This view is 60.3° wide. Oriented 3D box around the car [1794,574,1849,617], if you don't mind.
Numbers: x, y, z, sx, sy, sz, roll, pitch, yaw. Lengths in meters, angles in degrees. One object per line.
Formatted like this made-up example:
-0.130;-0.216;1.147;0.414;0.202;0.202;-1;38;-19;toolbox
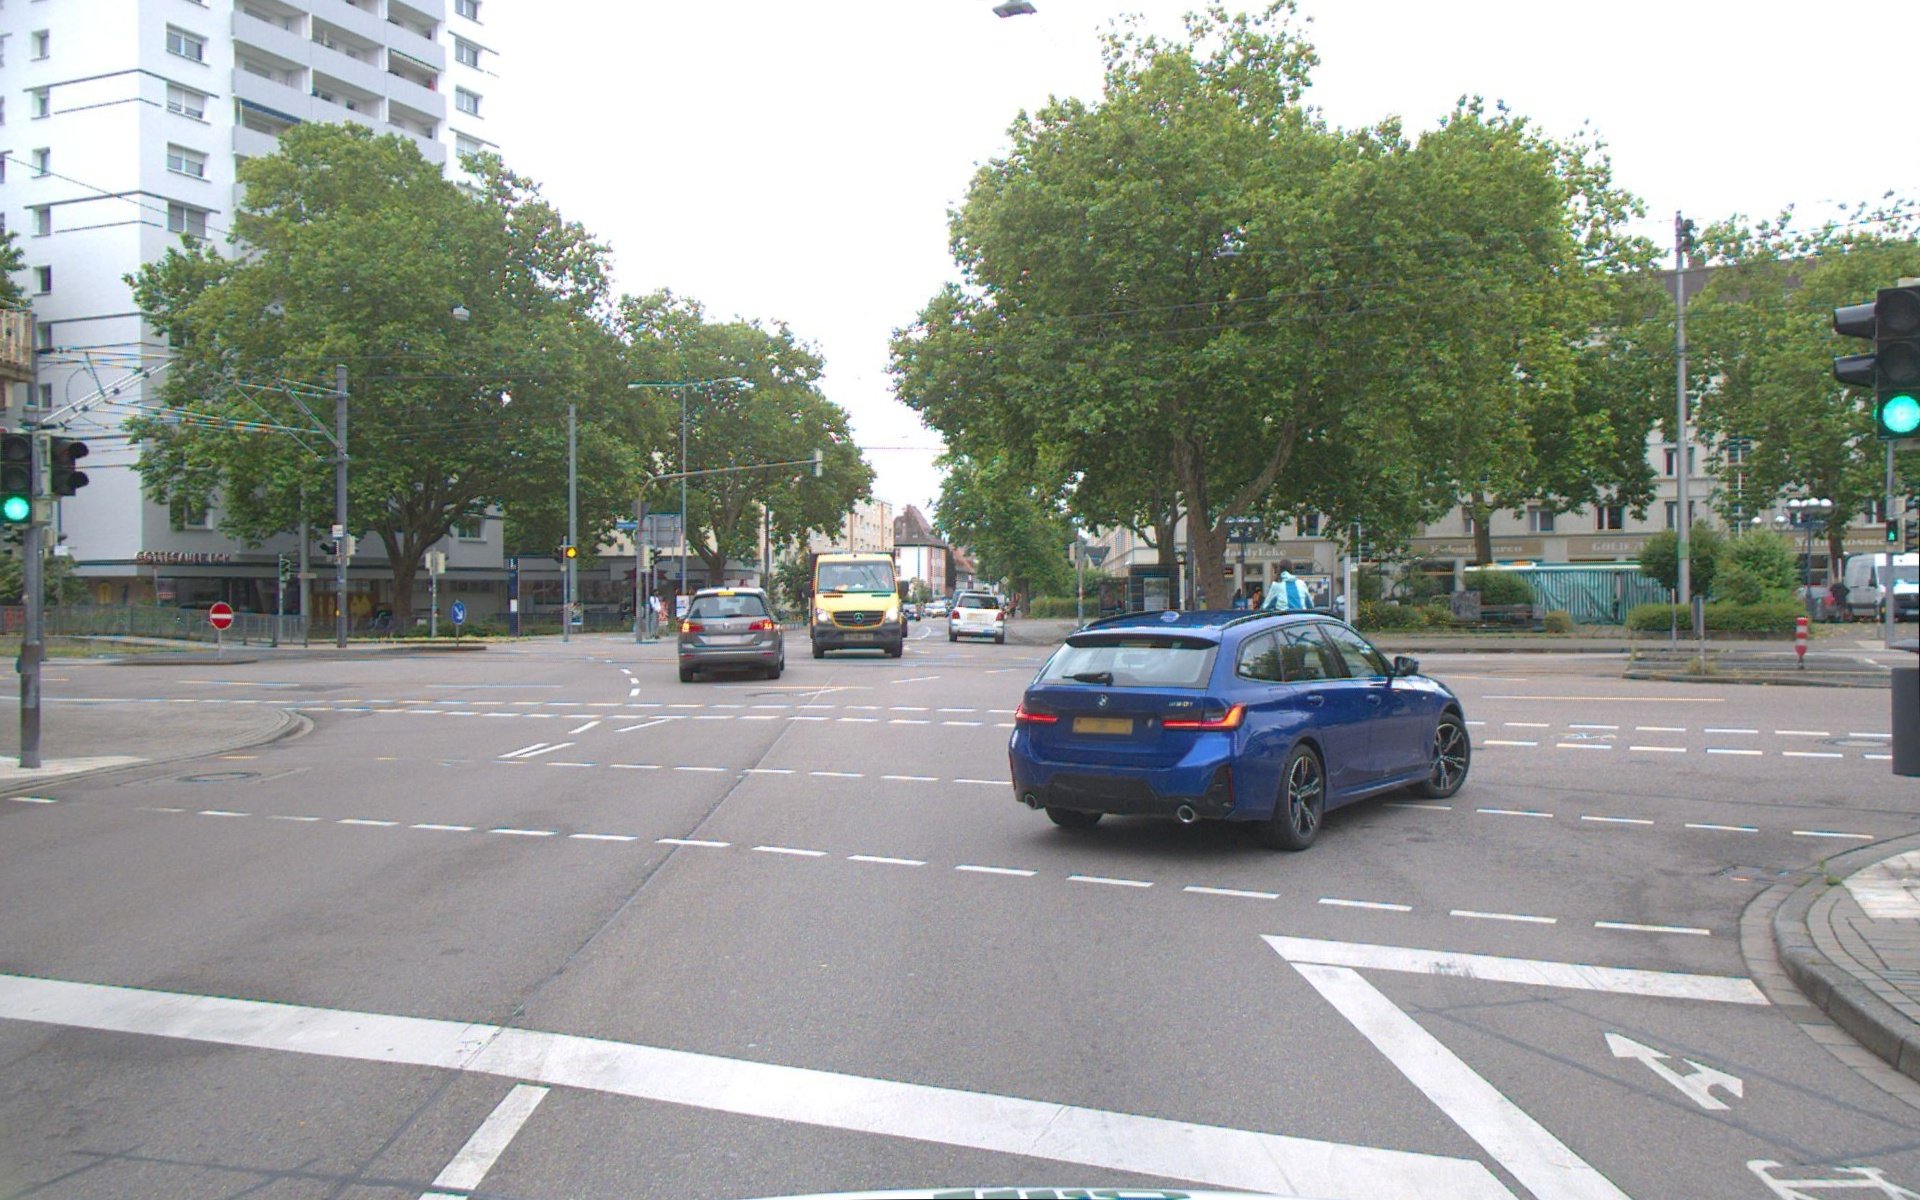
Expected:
32.040;-0.166;61.590;1.632;1.542;3.935;-1;0;25;car

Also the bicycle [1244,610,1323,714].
3.759;0.689;19.351;0.484;1.117;2.138;-1;0;0;bicycle

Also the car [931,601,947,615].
-2.326;0.899;184.518;1.731;1.512;4.000;-1;0;0;car

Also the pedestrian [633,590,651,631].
-14.083;0.461;73.256;0.562;1.816;0.620;-1;0;8;pedestrian

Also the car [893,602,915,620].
-4.863;0.962;144.274;1.815;1.478;4.167;0;0;0;car

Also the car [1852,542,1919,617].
34.949;-0.749;61.964;2.190;2.685;5.445;-1;0;23;car

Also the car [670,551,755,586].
-12.811;-1.596;85.756;3.943;1.736;1.981;0;-1;-29;car

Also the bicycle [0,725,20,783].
-8.979;1.242;13.630;1.849;0.453;1.028;5;1;-3;bicycle

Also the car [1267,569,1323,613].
17.860;-0.463;88.149;2.130;2.239;3.998;-1;0;24;car

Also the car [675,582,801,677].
-3.870;0.474;29.406;1.697;1.551;4.000;-1;0;0;car

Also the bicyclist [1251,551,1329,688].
3.821;0.220;19.211;0.672;1.544;1.058;-1;0;-1;bicyclist

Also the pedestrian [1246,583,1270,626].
12.315;0.191;68.416;0.768;1.774;0.925;-1;0;-2;pedestrian

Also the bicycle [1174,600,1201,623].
11.722;0.585;85.213;0.762;1.188;2.331;-1;0;24;bicycle

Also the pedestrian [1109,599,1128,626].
7.986;0.627;83.300;0.835;1.337;0.762;-1;0;-1;pedestrian

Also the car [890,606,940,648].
-1.654;0.988;62.105;1.772;1.452;4.317;-1;0;0;car

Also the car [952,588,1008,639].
0.637;0.416;55.161;1.778;1.620;4.000;-1;0;0;car

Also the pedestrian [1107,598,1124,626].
7.937;0.600;84.309;0.801;1.396;0.762;-1;0;-1;pedestrian

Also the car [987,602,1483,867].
2.116;0.763;11.569;1.784;1.430;4.306;-1;0;34;car

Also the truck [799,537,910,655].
-2.497;-0.093;37.783;2.036;2.450;5.452;-1;0;-8;truck

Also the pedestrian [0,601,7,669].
-23.382;0.849;39.662;0.716;1.631;0.588;-1;0;23;pedestrian

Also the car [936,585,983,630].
-0.054;0.312;72.921;1.953;1.880;3.999;-1;0;-2;car
